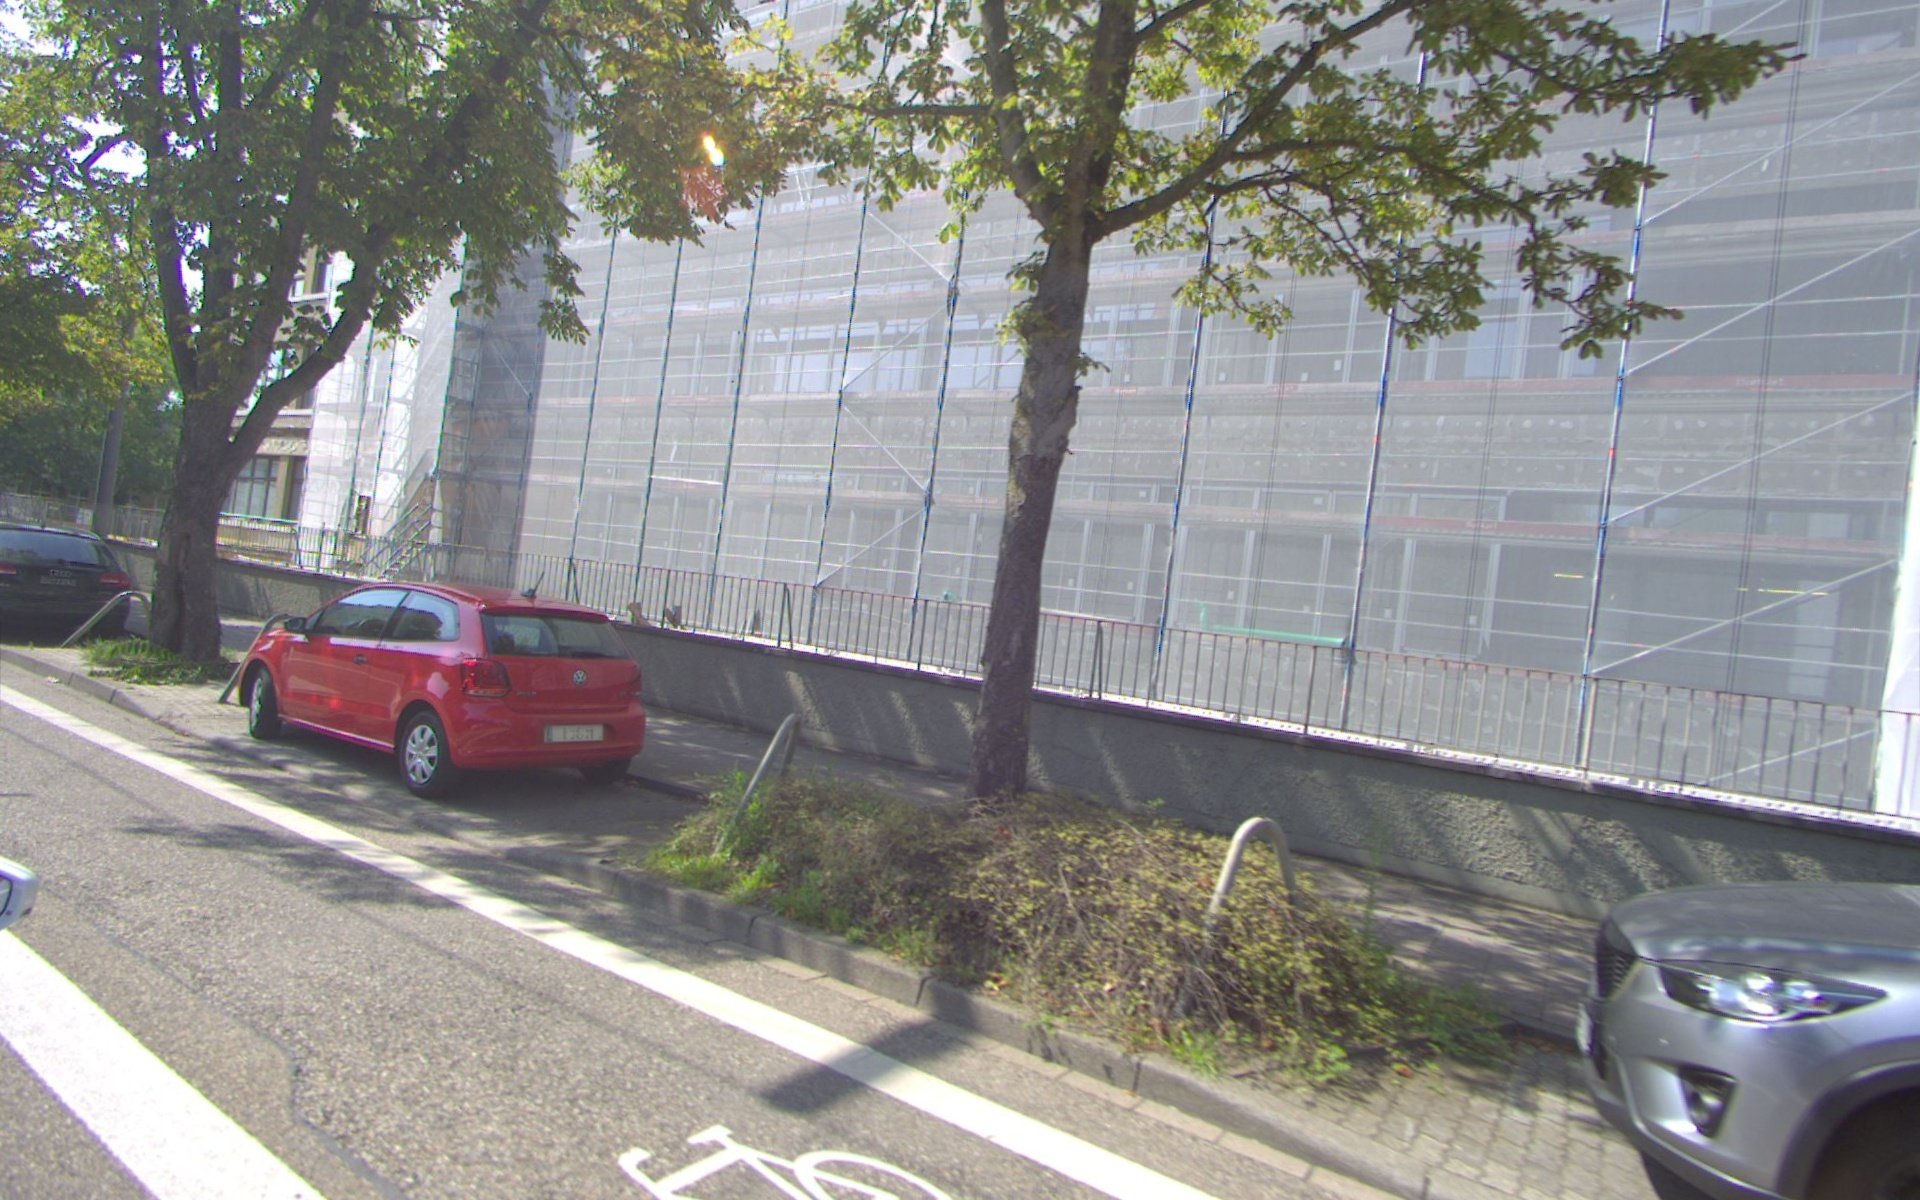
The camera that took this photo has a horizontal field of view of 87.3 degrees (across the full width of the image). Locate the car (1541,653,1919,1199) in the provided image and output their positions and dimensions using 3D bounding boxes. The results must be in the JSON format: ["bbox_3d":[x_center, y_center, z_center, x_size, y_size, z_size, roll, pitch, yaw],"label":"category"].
[{"bbox_3d":[4.208,1.313,2.553,4.571,1.708,1.765,6,-2,32],"label":"car"}]

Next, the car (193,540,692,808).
[{"bbox_3d":[-4.350,0.497,8.284,4.064,1.517,1.688,6,-2,32],"label":"car"}]

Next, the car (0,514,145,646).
[{"bbox_3d":[-12.943,-0.423,13.449,4.725,1.457,1.688,6,-2,33],"label":"car"}]
